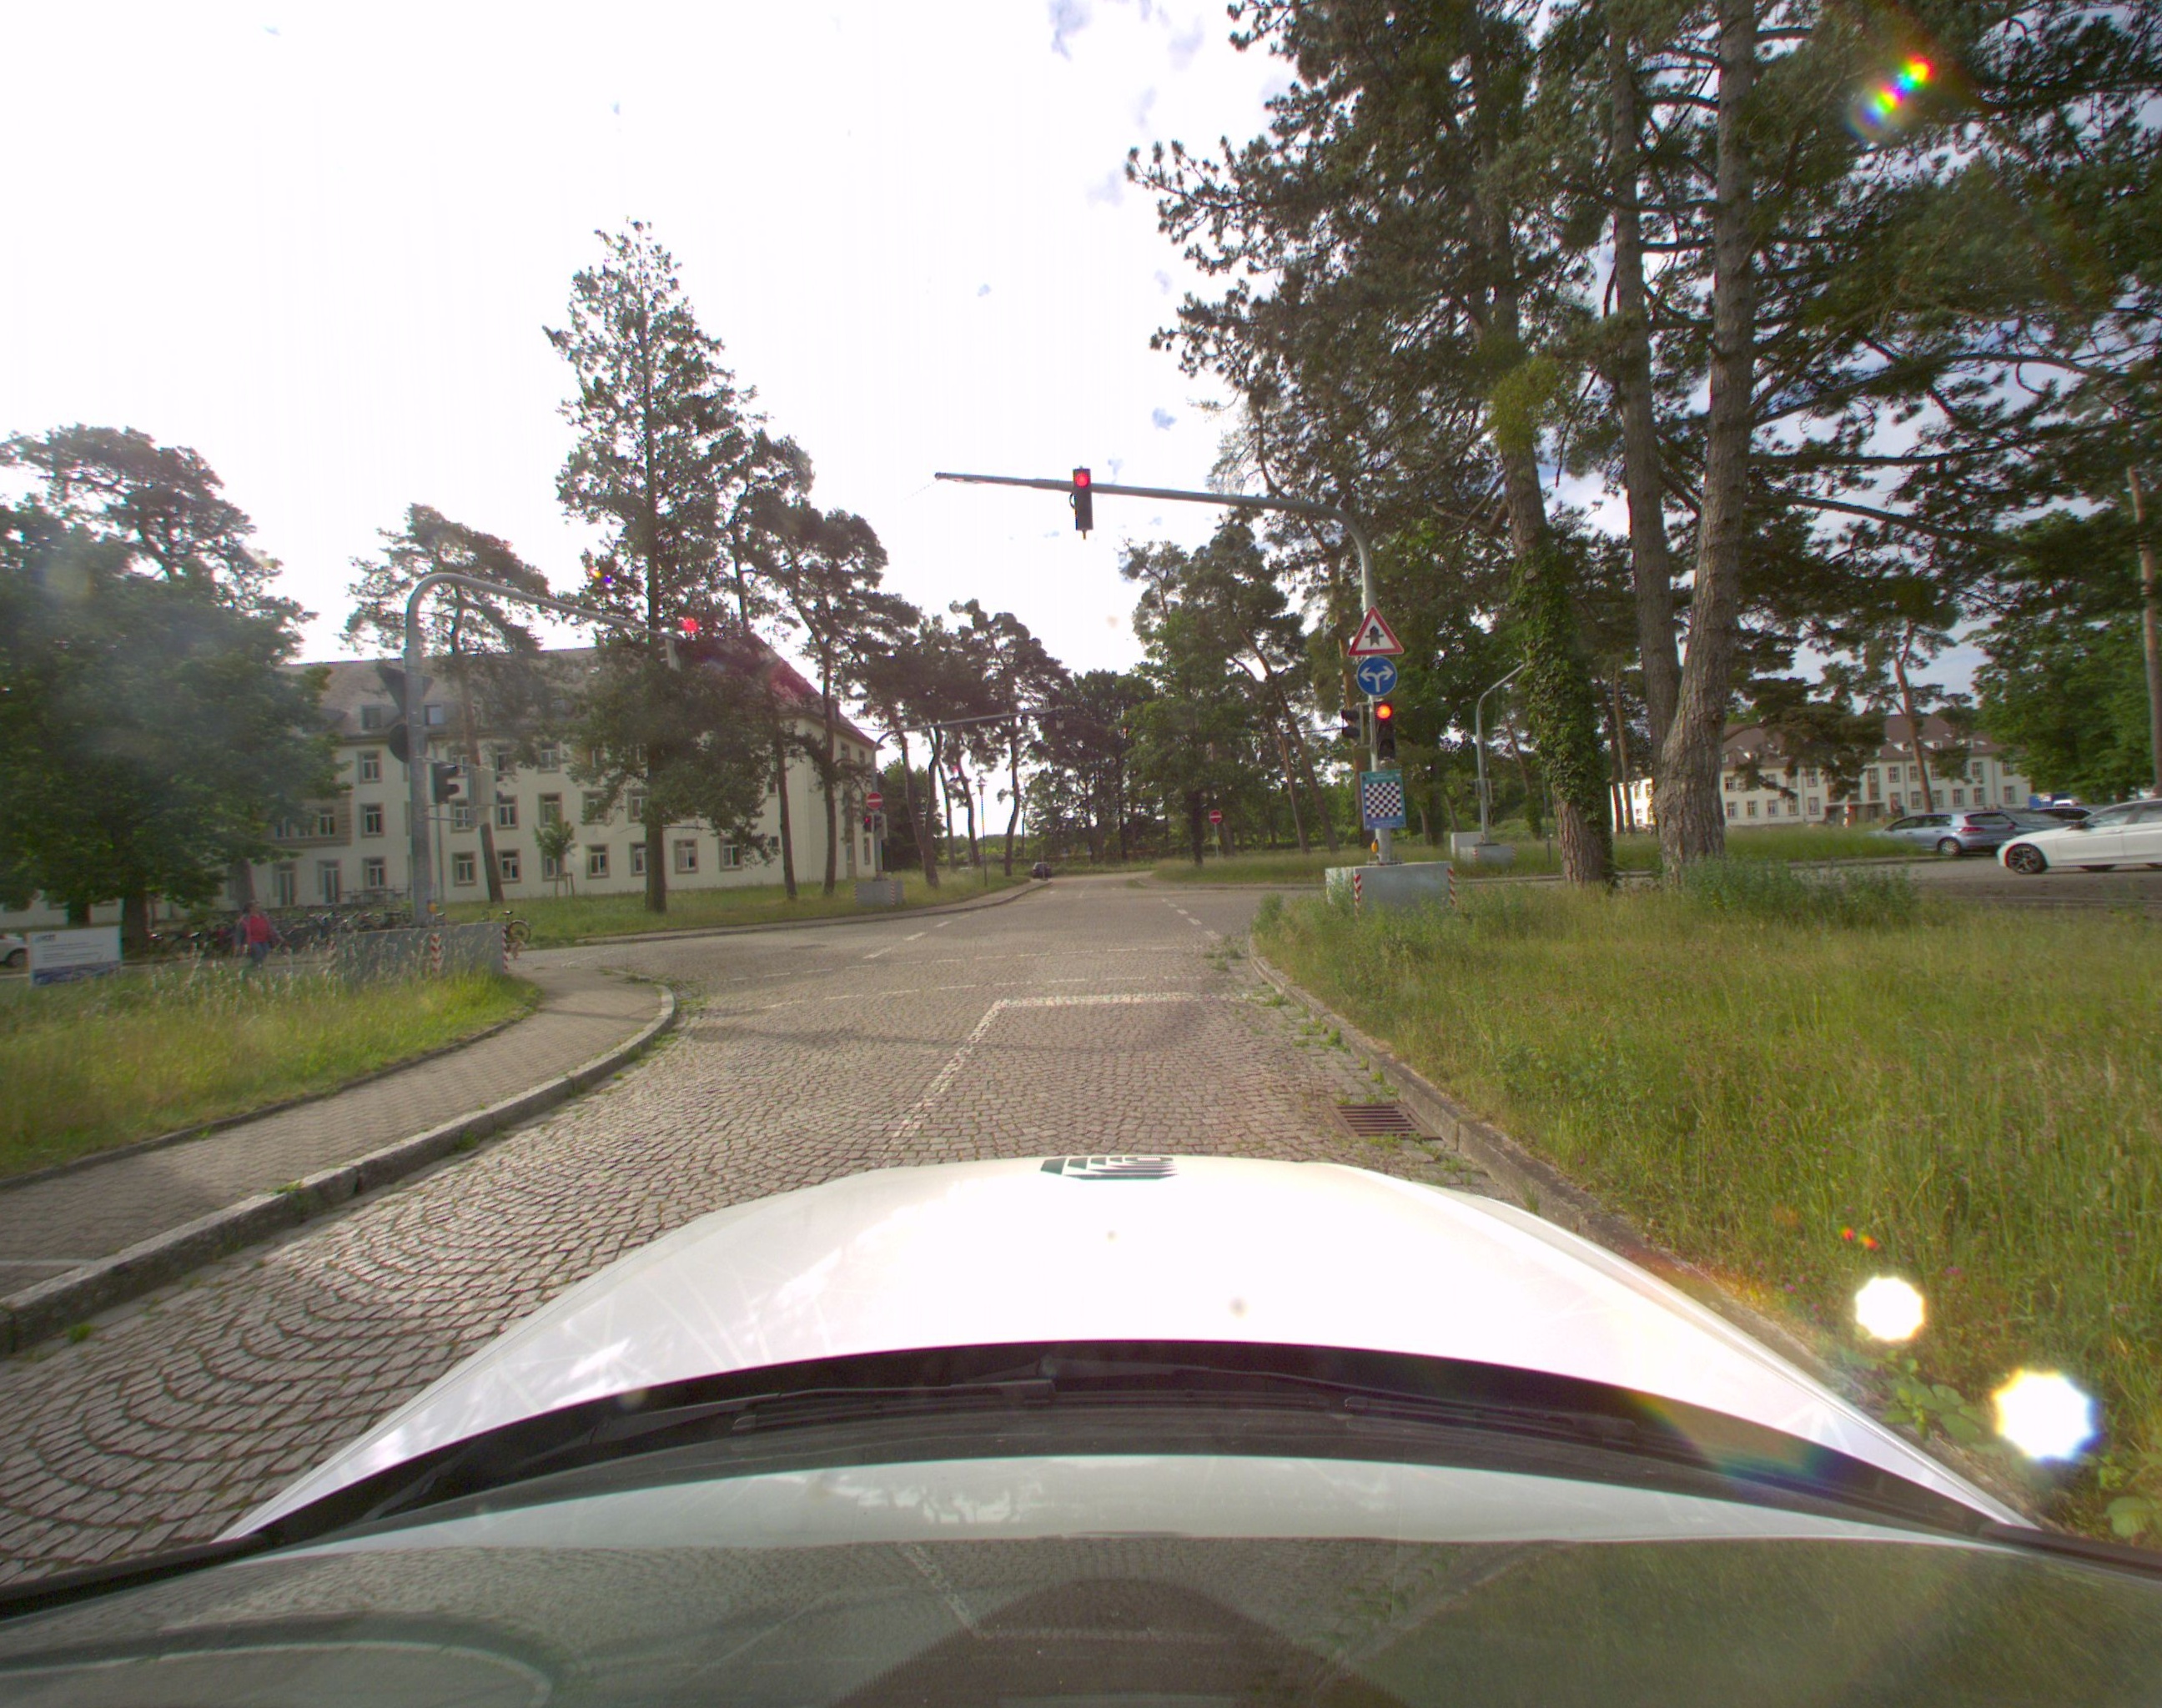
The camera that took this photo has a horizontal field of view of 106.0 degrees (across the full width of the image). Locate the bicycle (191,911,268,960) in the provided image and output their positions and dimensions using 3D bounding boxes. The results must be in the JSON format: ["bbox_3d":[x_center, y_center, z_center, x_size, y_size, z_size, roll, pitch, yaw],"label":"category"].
[{"bbox_3d":[-25.396,2.415,24.321,0.447,1.283,1.695,-3,0,0],"label":"bicycle"}]

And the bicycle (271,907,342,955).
[{"bbox_3d":[-23.169,2.282,24.409,0.447,1.283,1.695,-3,0,0],"label":"bicycle"}]

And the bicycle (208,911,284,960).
[{"bbox_3d":[-24.909,2.398,24.329,0.447,1.283,1.695,-3,0,0],"label":"bicycle"}]

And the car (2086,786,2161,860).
[{"bbox_3d":[23.980,-0.727,16.415,1.861,1.577,4.444,-3,0,-2],"label":"car"}]

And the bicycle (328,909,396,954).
[{"bbox_3d":[-21.465,2.285,24.350,0.447,1.178,1.695,-3,0,0],"label":"bicycle"}]

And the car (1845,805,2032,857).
[{"bbox_3d":[28.933,-0.702,27.721,1.745,1.524,4.451,-4,0,3],"label":"car"}]

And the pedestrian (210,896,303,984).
[{"bbox_3d":[-16.936,1.740,16.754,0.855,1.668,0.941,-4,-1,5],"label":"pedestrian"}]

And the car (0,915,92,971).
[{"bbox_3d":[-34.273,2.890,25.446,1.832,1.556,3.899,-3,0,2],"label":"car"}]

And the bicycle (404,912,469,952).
[{"bbox_3d":[-18.171,2.201,22.965,1.453,0.996,0.452,-4,-1,2],"label":"bicycle"}]

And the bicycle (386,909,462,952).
[{"bbox_3d":[-19.672,2.274,24.441,0.573,1.078,1.996,-3,0,0],"label":"bicycle"}]

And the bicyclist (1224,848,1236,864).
[{"bbox_3d":[14.874,0.188,81.160,0.972,1.510,0.807,-4,-1,-2],"label":"bicyclist"}]

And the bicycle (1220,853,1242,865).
[{"bbox_3d":[14.897,0.505,81.143,1.982,1.095,0.809,-4,0,-3],"label":"bicycle"}]

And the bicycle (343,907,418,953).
[{"bbox_3d":[-20.953,2.254,24.403,0.526,1.178,1.930,-3,0,0],"label":"bicycle"}]

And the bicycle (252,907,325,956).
[{"bbox_3d":[-23.684,2.301,24.370,0.447,1.283,1.695,-3,0,0],"label":"bicycle"}]

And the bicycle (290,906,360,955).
[{"bbox_3d":[-22.664,2.265,24.447,0.447,1.283,1.695,-3,0,0],"label":"bicycle"}]

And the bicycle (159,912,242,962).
[{"bbox_3d":[-26.327,2.451,24.394,0.447,1.283,1.827,-3,0,0],"label":"bicycle"}]

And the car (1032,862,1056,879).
[{"bbox_3d":[-3.608,1.590,80.097,1.985,1.508,4.003,-2,0,3],"label":"car"}]

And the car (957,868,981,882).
[{"bbox_3d":[-11.138,2.069,81.212,1.682,1.156,4.003,-4,0,3],"label":"car"}]

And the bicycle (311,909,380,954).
[{"bbox_3d":[-21.951,2.290,24.334,0.447,1.178,1.695,-3,0,0],"label":"bicycle"}]

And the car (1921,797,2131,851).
[{"bbox_3d":[31.345,-0.938,27.253,1.748,1.524,4.443,-3,0,-2],"label":"car"}]

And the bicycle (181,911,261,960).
[{"bbox_3d":[-25.861,2.435,24.523,0.441,1.283,1.785,-3,0,0],"label":"bicycle"}]

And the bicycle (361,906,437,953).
[{"bbox_3d":[-20.370,2.233,24.369,0.573,1.178,1.954,-3,0,0],"label":"bicycle"}]

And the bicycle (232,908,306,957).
[{"bbox_3d":[-24.247,2.321,24.351,0.447,1.283,1.695,-3,0,0],"label":"bicycle"}]

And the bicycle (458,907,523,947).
[{"bbox_3d":[-16.651,2.054,22.975,1.453,0.996,0.452,-4,-1,2],"label":"bicycle"}]

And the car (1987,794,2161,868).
[{"bbox_3d":[21.407,-0.479,16.175,1.748,1.415,4.444,-3,-1,-2],"label":"car"}]
